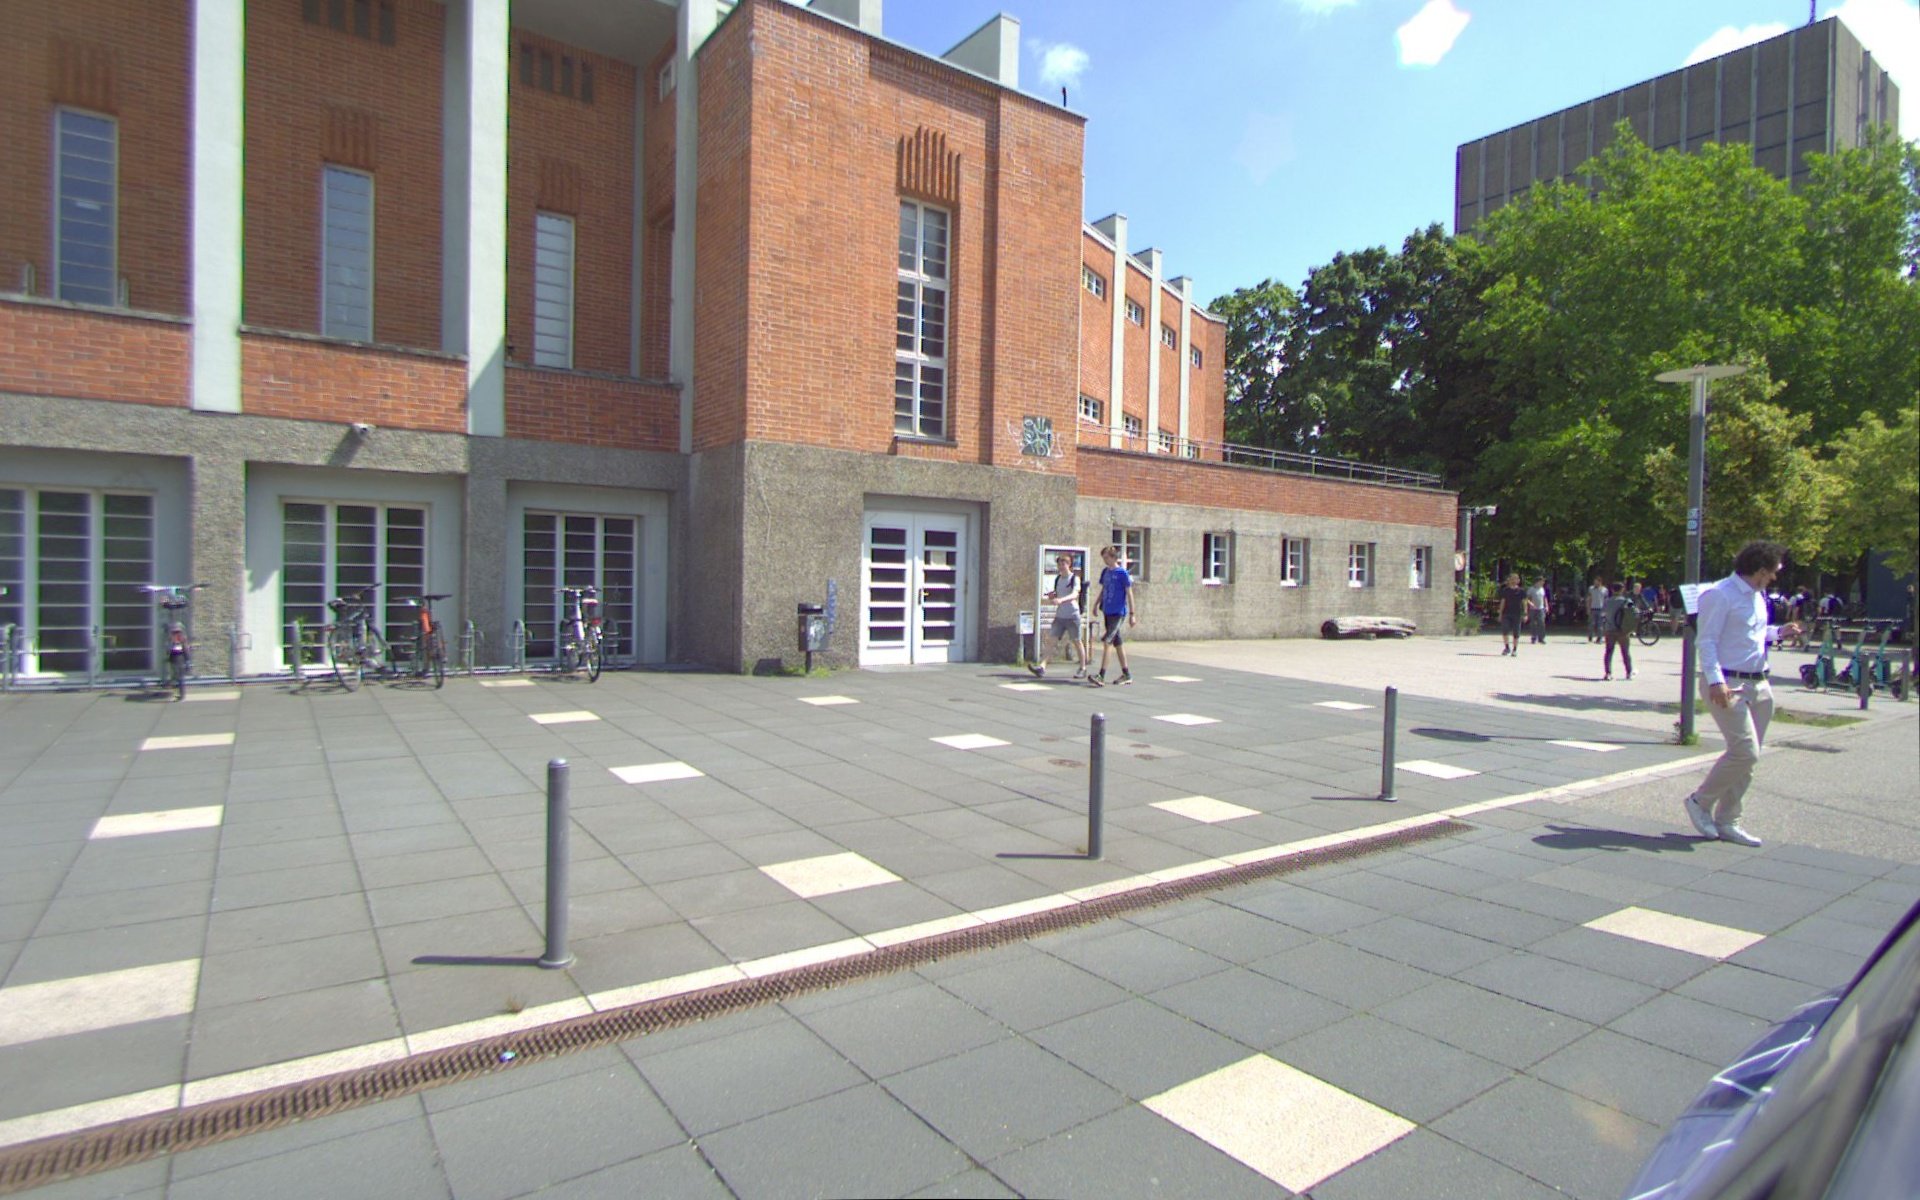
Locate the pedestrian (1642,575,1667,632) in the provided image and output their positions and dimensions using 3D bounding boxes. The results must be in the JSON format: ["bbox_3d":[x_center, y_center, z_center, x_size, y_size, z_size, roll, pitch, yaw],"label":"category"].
[{"bbox_3d":[22.893,0.105,33.353,0.563,1.816,0.635,3,1,39],"label":"pedestrian"}]

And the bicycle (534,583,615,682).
[{"bbox_3d":[-4.922,0.375,12.856,0.448,1.124,1.936,1,2,-36],"label":"bicycle"}]

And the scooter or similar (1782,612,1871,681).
[{"bbox_3d":[15.678,0.838,18.301,1.447,1.194,0.577,2,1,-22],"label":"scooter or similar"}]

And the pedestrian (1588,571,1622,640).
[{"bbox_3d":[18.137,0.165,28.455,0.662,1.911,0.964,1,-2,25],"label":"pedestrian"}]

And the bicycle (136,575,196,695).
[{"bbox_3d":[-8.272,0.319,10.576,0.427,1.124,1.802,1,2,-36],"label":"bicycle"}]

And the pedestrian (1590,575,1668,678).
[{"bbox_3d":[11.596,0.431,17.539,1.059,1.696,0.785,0,2,-38],"label":"pedestrian"}]

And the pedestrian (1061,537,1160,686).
[{"bbox_3d":[2.016,0.133,13.582,1.088,1.913,0.667,0,2,-30],"label":"pedestrian"}]

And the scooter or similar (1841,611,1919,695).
[{"bbox_3d":[15.165,0.844,16.478,0.565,1.259,1.144,2,1,-1],"label":"scooter or similar"}]

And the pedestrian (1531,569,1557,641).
[{"bbox_3d":[16.009,0.147,27.762,0.561,1.954,0.881,1,-2,28],"label":"pedestrian"}]

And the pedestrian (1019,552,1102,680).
[{"bbox_3d":[1.410,0.203,14.196,0.983,1.727,0.587,0,2,-35],"label":"pedestrian"}]

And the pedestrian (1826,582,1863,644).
[{"bbox_3d":[25.556,0.362,29.251,0.618,1.760,0.766,3,1,32],"label":"pedestrian"}]

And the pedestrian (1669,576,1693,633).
[{"bbox_3d":[23.498,0.134,32.989,0.538,1.816,0.636,3,1,34],"label":"pedestrian"}]

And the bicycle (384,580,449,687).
[{"bbox_3d":[-6.374,0.351,11.838,0.427,1.124,1.700,1,2,-36],"label":"bicycle"}]

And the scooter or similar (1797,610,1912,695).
[{"bbox_3d":[14.393,0.823,16.331,0.565,1.245,1.357,2,1,-1],"label":"scooter or similar"}]

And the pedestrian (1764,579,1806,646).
[{"bbox_3d":[23.093,0.338,28.339,0.776,1.813,0.706,3,1,33],"label":"pedestrian"}]

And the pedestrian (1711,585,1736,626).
[{"bbox_3d":[30.283,0.215,40.165,0.633,1.576,0.569,3,1,27],"label":"pedestrian"}]

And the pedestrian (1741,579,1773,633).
[{"bbox_3d":[26.180,0.200,33.252,0.633,1.728,0.708,3,1,27],"label":"pedestrian"}]

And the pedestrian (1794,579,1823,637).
[{"bbox_3d":[28.508,0.256,34.010,0.635,1.893,0.531,3,1,34],"label":"pedestrian"}]

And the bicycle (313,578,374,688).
[{"bbox_3d":[-6.961,0.334,11.400,0.427,1.124,1.656,1,2,-36],"label":"bicycle"}]

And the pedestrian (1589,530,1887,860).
[{"bbox_3d":[4.765,0.531,6.289,0.897,1.870,1.027,2,2,-7],"label":"pedestrian"}]

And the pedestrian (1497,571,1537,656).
[{"bbox_3d":[12.159,0.269,22.081,0.584,1.799,0.788,3,2,39],"label":"pedestrian"}]

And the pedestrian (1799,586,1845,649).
[{"bbox_3d":[23.826,0.463,27.995,0.744,1.694,0.837,3,1,29],"label":"pedestrian"}]

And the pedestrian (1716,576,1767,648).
[{"bbox_3d":[22.212,0.312,28.789,0.976,1.970,0.967,3,1,33],"label":"pedestrian"}]

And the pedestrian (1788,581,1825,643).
[{"bbox_3d":[24.785,0.331,29.654,0.596,1.774,0.758,2,1,26],"label":"pedestrian"}]

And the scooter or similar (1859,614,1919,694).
[{"bbox_3d":[15.875,0.899,16.873,0.565,1.248,1.265,2,1,-1],"label":"scooter or similar"}]

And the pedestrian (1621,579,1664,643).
[{"bbox_3d":[19.507,0.308,28.936,0.657,1.788,0.797,2,0,3],"label":"pedestrian"}]
